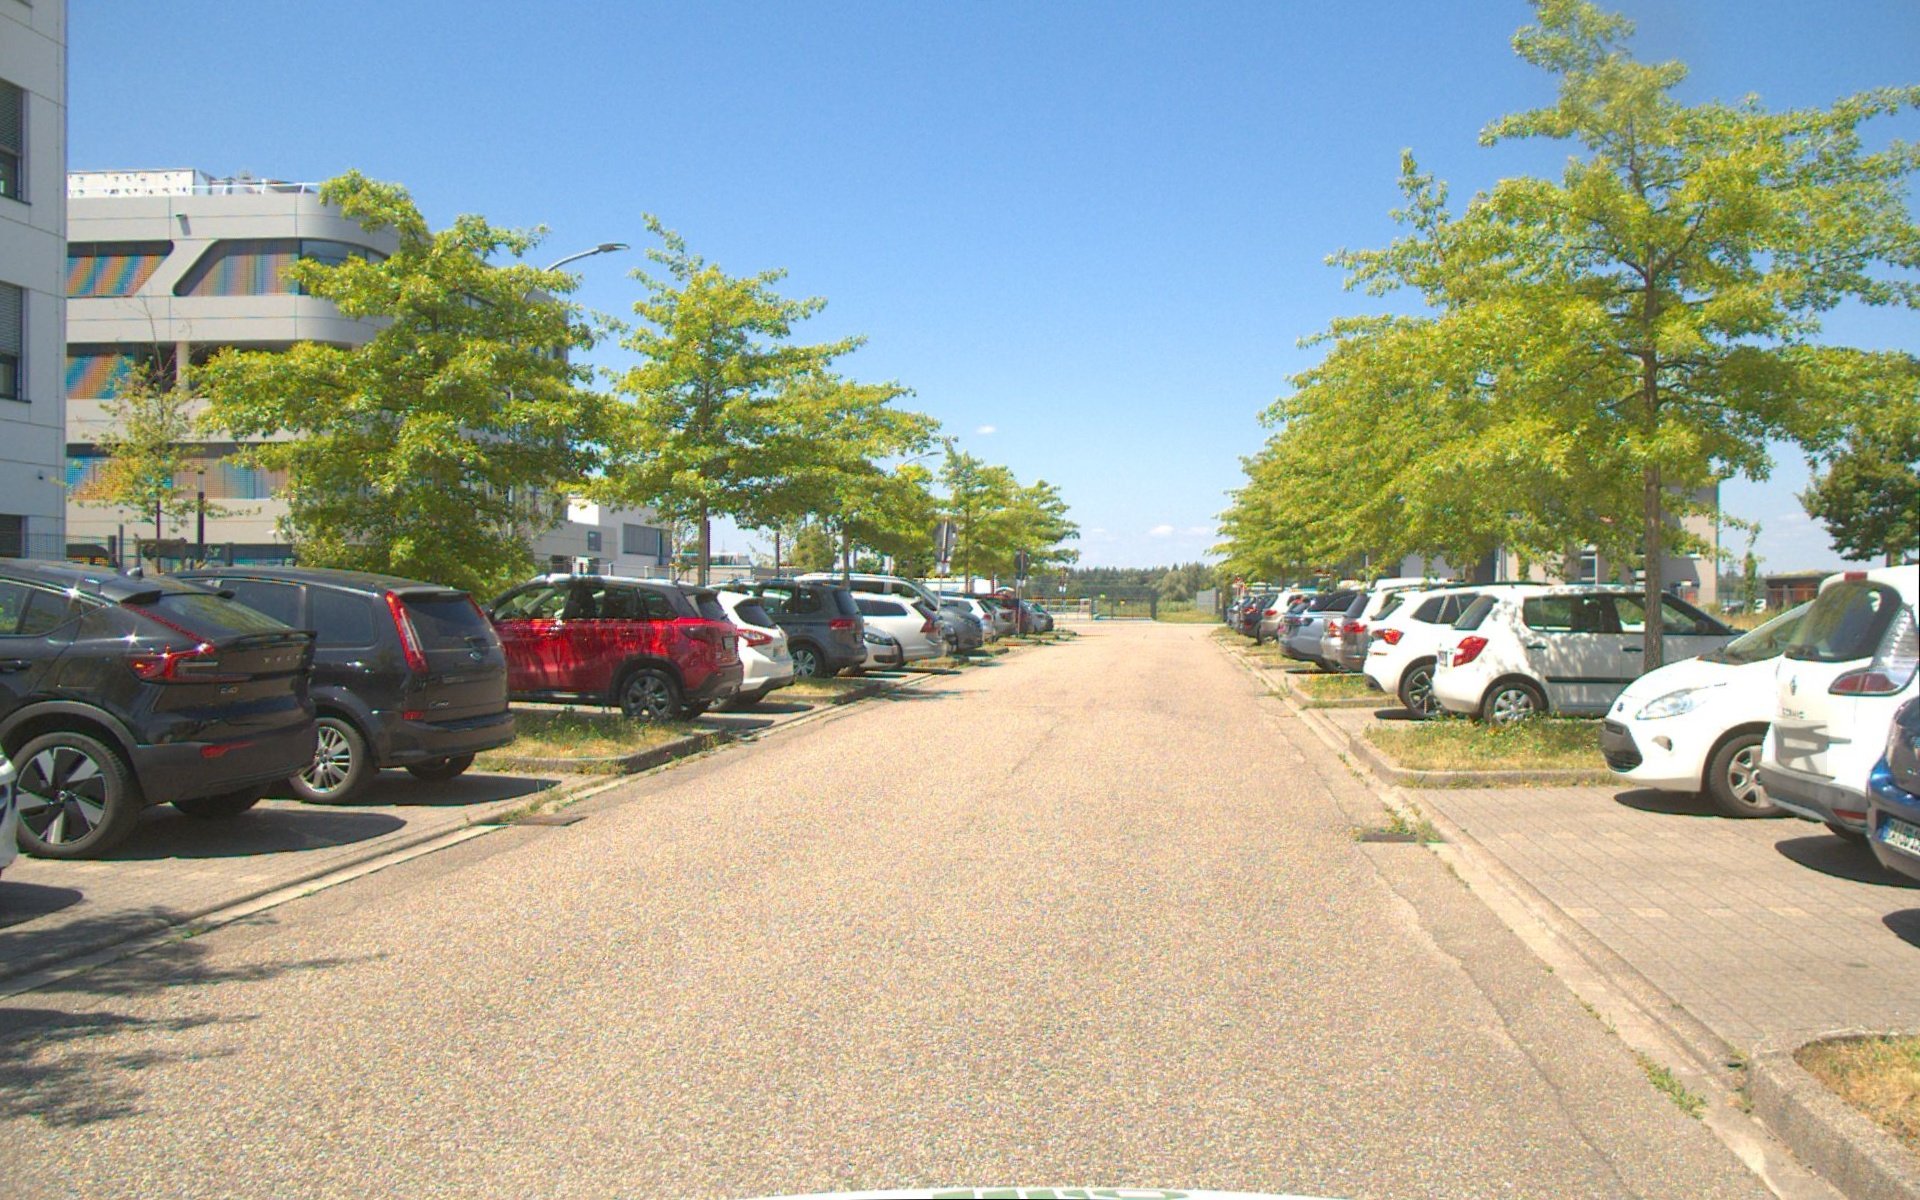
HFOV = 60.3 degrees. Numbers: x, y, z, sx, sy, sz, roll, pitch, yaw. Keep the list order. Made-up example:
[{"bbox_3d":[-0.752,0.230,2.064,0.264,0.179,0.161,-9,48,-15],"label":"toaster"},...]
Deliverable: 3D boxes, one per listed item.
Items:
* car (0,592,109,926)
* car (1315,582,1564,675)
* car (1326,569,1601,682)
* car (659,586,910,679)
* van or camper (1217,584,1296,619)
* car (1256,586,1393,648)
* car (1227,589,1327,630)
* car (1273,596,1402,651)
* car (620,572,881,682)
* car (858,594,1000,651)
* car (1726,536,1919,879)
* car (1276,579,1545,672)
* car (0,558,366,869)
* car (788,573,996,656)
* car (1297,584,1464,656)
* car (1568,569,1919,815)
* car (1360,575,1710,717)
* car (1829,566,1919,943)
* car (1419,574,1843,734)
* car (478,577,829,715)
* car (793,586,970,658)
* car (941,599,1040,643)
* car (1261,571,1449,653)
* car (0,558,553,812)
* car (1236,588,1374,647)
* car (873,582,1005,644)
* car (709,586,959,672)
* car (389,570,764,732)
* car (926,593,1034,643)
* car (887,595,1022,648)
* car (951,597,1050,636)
[{"bbox_3d":[-5.958,0.658,7.365,3.430,1.466,1.729,2,0,7],"label":"car"},{"bbox_3d":[8.329,0.492,29.005,3.960,1.478,1.647,-2,-1,8],"label":"car"},{"bbox_3d":[7.969,0.405,26.476,3.960,1.653,1.694,-2,-1,8],"label":"car"},{"bbox_3d":[-3.137,0.559,30.022,4.220,1.499,1.728,2,0,5],"label":"car"},{"bbox_3d":[18.886,0.068,105.538,4.831,2.201,2.001,0,0,6],"label":"van or camper"},{"bbox_3d":[10.827,0.512,49.345,3.793,1.707,1.783,-2,-1,7],"label":"car"},{"bbox_3d":[13.887,0.407,72.698,4.188,1.673,1.852,-2,-1,7],"label":"car"},{"bbox_3d":[10.719,0.660,47.114,3.384,1.442,1.756,-2,-1,7],"label":"car"},{"bbox_3d":[-3.491,0.431,27.921,4.030,1.663,1.729,2,0,6],"label":"car"},{"bbox_3d":[-0.867,0.643,48.062,3.952,1.486,1.605,2,0,4],"label":"car"},{"bbox_3d":[6.434,0.445,8.677,4.022,1.679,1.775,-3,0,12],"label":"car"},{"bbox_3d":[8.493,0.476,31.510,4.617,1.588,1.914,-2,0,3],"label":"car"},{"bbox_3d":[-5.783,0.560,9.854,3.757,1.621,1.830,2,0,4],"label":"car"},{"bbox_3d":[-1.695,0.348,42.149,4.962,1.925,1.999,1,0,9],"label":"car"},{"bbox_3d":[9.658,0.459,38.217,3.554,1.529,1.677,-2,-1,8],"label":"car"},{"bbox_3d":[6.266,0.553,11.379,3.542,1.488,1.611,-3,0,3],"label":"car"},{"bbox_3d":[6.726,0.526,19.733,3.752,1.580,1.781,-1,0,13],"label":"car"},{"bbox_3d":[5.785,0.540,6.385,3.910,1.516,1.729,-3,0,11],"label":"car"},{"bbox_3d":[6.866,0.545,17.272,3.753,1.551,1.781,-1,0,7],"label":"car"},{"bbox_3d":[-3.921,0.553,21.487,4.083,1.539,1.809,2,1,9],"label":"car"},{"bbox_3d":[-1.832,0.496,39.221,3.884,1.510,1.765,2,0,7],"label":"car"},{"bbox_3d":[1.155,0.769,61.972,3.580,1.535,1.732,2,0,3],"label":"car"},{"bbox_3d":[9.659,0.308,40.705,4.309,1.862,1.797,-2,-1,8],"label":"car"},{"bbox_3d":[-5.201,0.558,12.270,3.823,1.619,1.729,2,0,7],"label":"car"},{"bbox_3d":[10.817,0.560,52.077,4.085,1.726,1.783,-2,-1,6],"label":"car"},{"bbox_3d":[-0.602,0.396,50.827,3.904,1.708,1.778,2,0,2],"label":"car"},{"bbox_3d":[-2.418,0.539,32.408,4.614,1.472,1.858,2,0,4],"label":"car"},{"bbox_3d":[-4.284,0.541,18.829,3.758,1.619,1.728,2,0,5],"label":"car"},{"bbox_3d":[0.745,0.621,59.387,3.658,1.650,1.818,2,0,8],"label":"car"},{"bbox_3d":[-0.150,0.672,53.172,4.104,1.506,1.714,2,0,8],"label":"car"},{"bbox_3d":[1.702,0.690,68.868,3.990,1.449,1.874,2,0,3],"label":"car"}]
